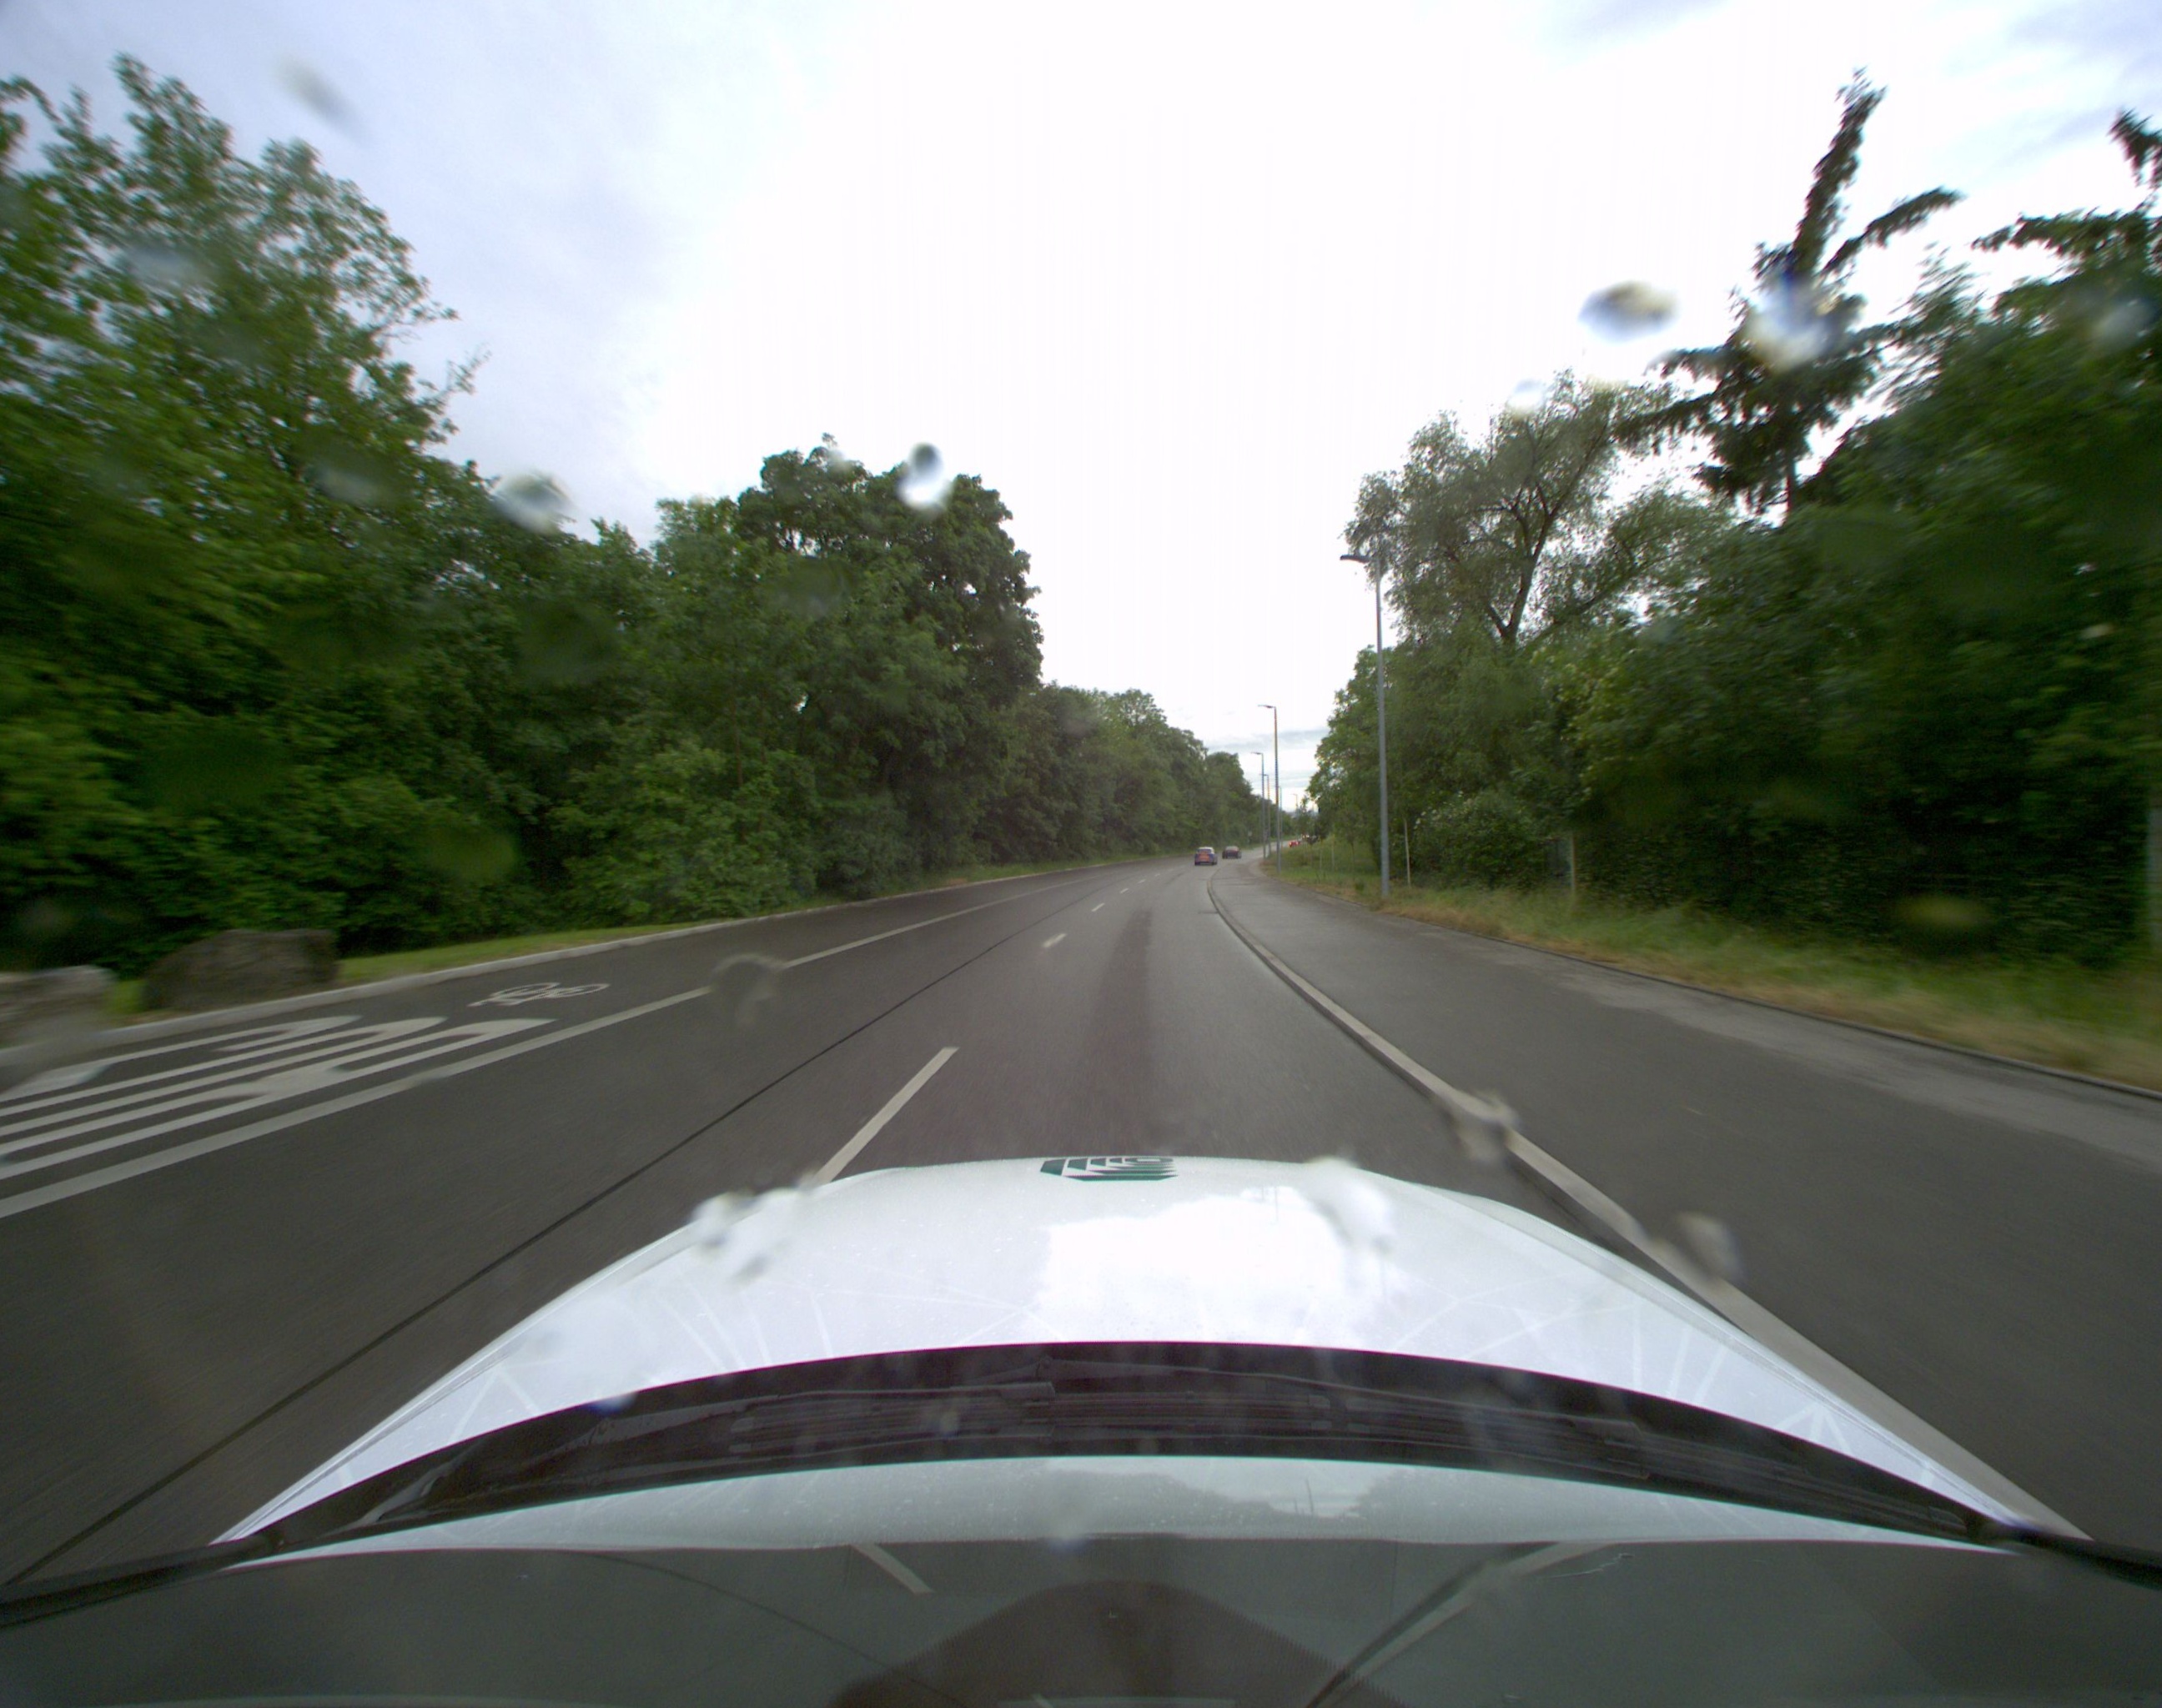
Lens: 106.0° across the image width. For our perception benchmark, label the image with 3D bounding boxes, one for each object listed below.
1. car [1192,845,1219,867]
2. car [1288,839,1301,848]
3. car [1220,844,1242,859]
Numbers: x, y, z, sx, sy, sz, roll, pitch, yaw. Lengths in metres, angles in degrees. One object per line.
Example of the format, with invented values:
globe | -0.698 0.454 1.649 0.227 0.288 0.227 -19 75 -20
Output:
car | 11.038 0.180 71.852 1.979 1.689 4.016 -2 2 14
car | 40.533 -2.008 154.512 1.977 1.552 4.021 0 1 20
car | 17.198 -0.288 93.291 1.912 1.486 3.817 -2 2 17
